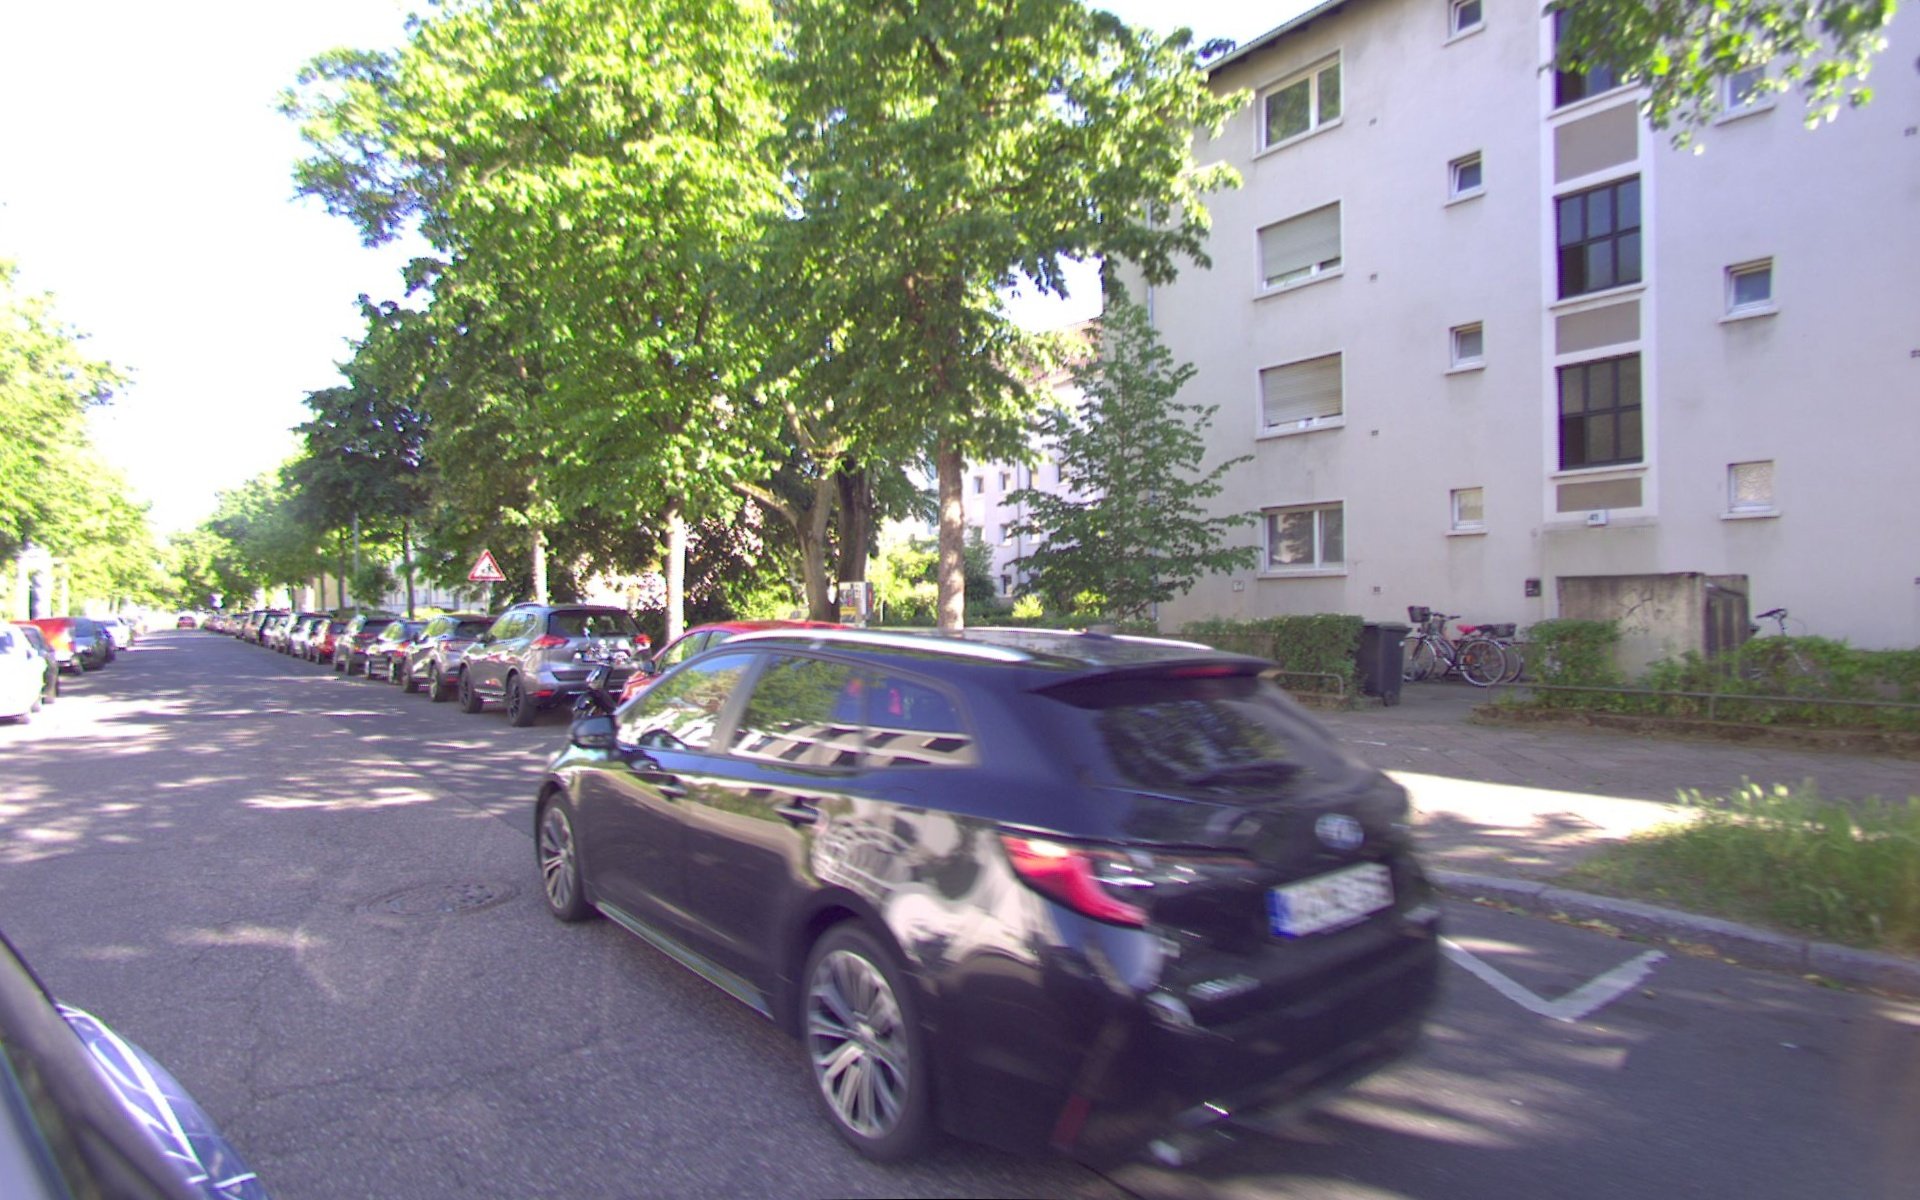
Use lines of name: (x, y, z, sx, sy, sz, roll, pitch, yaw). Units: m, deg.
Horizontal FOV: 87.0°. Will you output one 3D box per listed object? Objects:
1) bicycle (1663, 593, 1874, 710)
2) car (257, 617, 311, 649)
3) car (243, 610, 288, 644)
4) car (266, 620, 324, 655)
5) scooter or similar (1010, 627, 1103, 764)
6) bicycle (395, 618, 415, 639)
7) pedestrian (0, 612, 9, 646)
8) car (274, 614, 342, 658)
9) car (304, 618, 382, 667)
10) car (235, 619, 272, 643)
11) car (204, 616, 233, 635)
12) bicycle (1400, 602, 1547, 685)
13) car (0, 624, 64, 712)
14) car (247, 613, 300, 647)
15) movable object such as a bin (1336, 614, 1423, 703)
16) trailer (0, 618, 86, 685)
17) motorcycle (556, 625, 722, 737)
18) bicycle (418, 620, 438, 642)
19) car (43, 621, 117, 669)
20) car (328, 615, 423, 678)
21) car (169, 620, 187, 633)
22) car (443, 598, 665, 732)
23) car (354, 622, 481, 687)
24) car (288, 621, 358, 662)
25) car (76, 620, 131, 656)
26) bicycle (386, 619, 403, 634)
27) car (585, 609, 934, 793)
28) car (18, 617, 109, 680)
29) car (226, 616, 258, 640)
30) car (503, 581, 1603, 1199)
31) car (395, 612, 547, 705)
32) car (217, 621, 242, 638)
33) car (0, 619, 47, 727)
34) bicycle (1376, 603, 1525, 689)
bicycle: (9.629, 0.585, 12.133, 0.393, 1.299, 1.917, 0, -1, -39)
car: (-33.040, 1.574, 49.420, 1.771, 1.463, 4.497, 1, -1, -39)
car: (-39.740, 1.525, 57.872, 1.770, 1.864, 4.876, 1, -1, -38)
car: (-29.917, 1.639, 45.470, 1.685, 1.492, 4.497, 1, -1, -40)
scooter or similar: (0.944, 0.911, 10.239, 0.547, 1.244, 1.517, -1, -1, -9)
bicycle: (-31.677, 1.626, 57.762, 0.587, 1.199, 2.265, 1, -1, -40)
pedestrian: (-58.400, 1.746, 61.432, 0.893, 2.029, 1.008, 1, -1, -38)
car: (-26.650, 1.426, 41.283, 1.818, 1.669, 5.097, 1, -1, -39)
car: (-20.430, 1.357, 33.425, 1.633, 1.516, 4.075, 1, -1, -40)
car: (-46.461, 2.040, 66.538, 1.752, 1.482, 4.072, 3, -3, -38)
car: (-73.051, 2.525, 99.669, 1.863, 1.821, 3.920, -1, -1, -42)
bicycle: (7.928, 0.649, 15.705, 0.677, 1.210, 1.916, 0, -1, -36)
car: (-17.997, 1.244, 18.946, 1.649, 1.461, 4.186, -3, 1, -40)
car: (-36.593, 1.572, 53.896, 1.771, 1.698, 4.532, 1, -1, -42)
movable object such as a bin: (5.319, 0.721, 12.840, 0.685, 1.076, 0.762, 0, -1, -37)
trailer: (-24.580, 1.324, 27.026, 1.554, 1.590, 3.199, -3, 1, -36)
motorcycle: (-4.164, 1.011, 13.173, 1.926, 1.342, 0.789, 0, -1, -31)
bicycle: (-27.604, 1.609, 52.477, 0.565, 1.069, 1.937, -1, 0, -38)
car: (-31.024, 1.553, 35.785, 1.696, 1.528, 4.353, -1, 0, -38)
car: (-16.068, 1.216, 27.727, 1.684, 1.589, 4.491, 0, -1, -38)
car: (-89.753, 3.060, 116.179, 1.640, 1.476, 3.455, 0, -1, -37)
car: (-6.273, 0.864, 15.285, 1.745, 1.701, 4.822, 1, -1, -39)
car: (-12.801, 1.194, 23.742, 1.762, 1.363, 4.489, 1, -1, -40)
car: (-23.406, 1.473, 37.103, 1.633, 1.384, 4.196, 1, -1, -40)
car: (-39.813, 1.738, 47.021, 1.760, 1.529, 4.692, -1, 0, -42)
bicycle: (-35.100, 1.635, 62.834, 0.587, 0.923, 1.907, 1, -1, -40)
car: (-2.260, 0.864, 10.462, 1.832, 1.481, 4.190, 0, -1, -38)
car: (-27.247, 1.410, 30.884, 1.770, 1.655, 4.828, -3, 1, -39)
car: (-53.790, 2.081, 75.792, 1.835, 1.741, 4.008, 2, -2, -37)
car: (-0.236, 0.741, 4.017, 1.786, 1.457, 4.374, 2, -2, -39)
car: (-9.482, 1.038, 19.434, 1.746, 1.543, 4.428, -1, -1, -38)
car: (-62.421, 2.484, 86.441, 1.581, 1.401, 3.819, -1, -1, -39)
car: (-15.132, 1.073, 15.377, 1.711, 1.498, 4.016, -1, 0, -40)
bicycle: (7.371, 0.664, 15.284, 0.677, 1.210, 1.916, 0, -1, -36)
